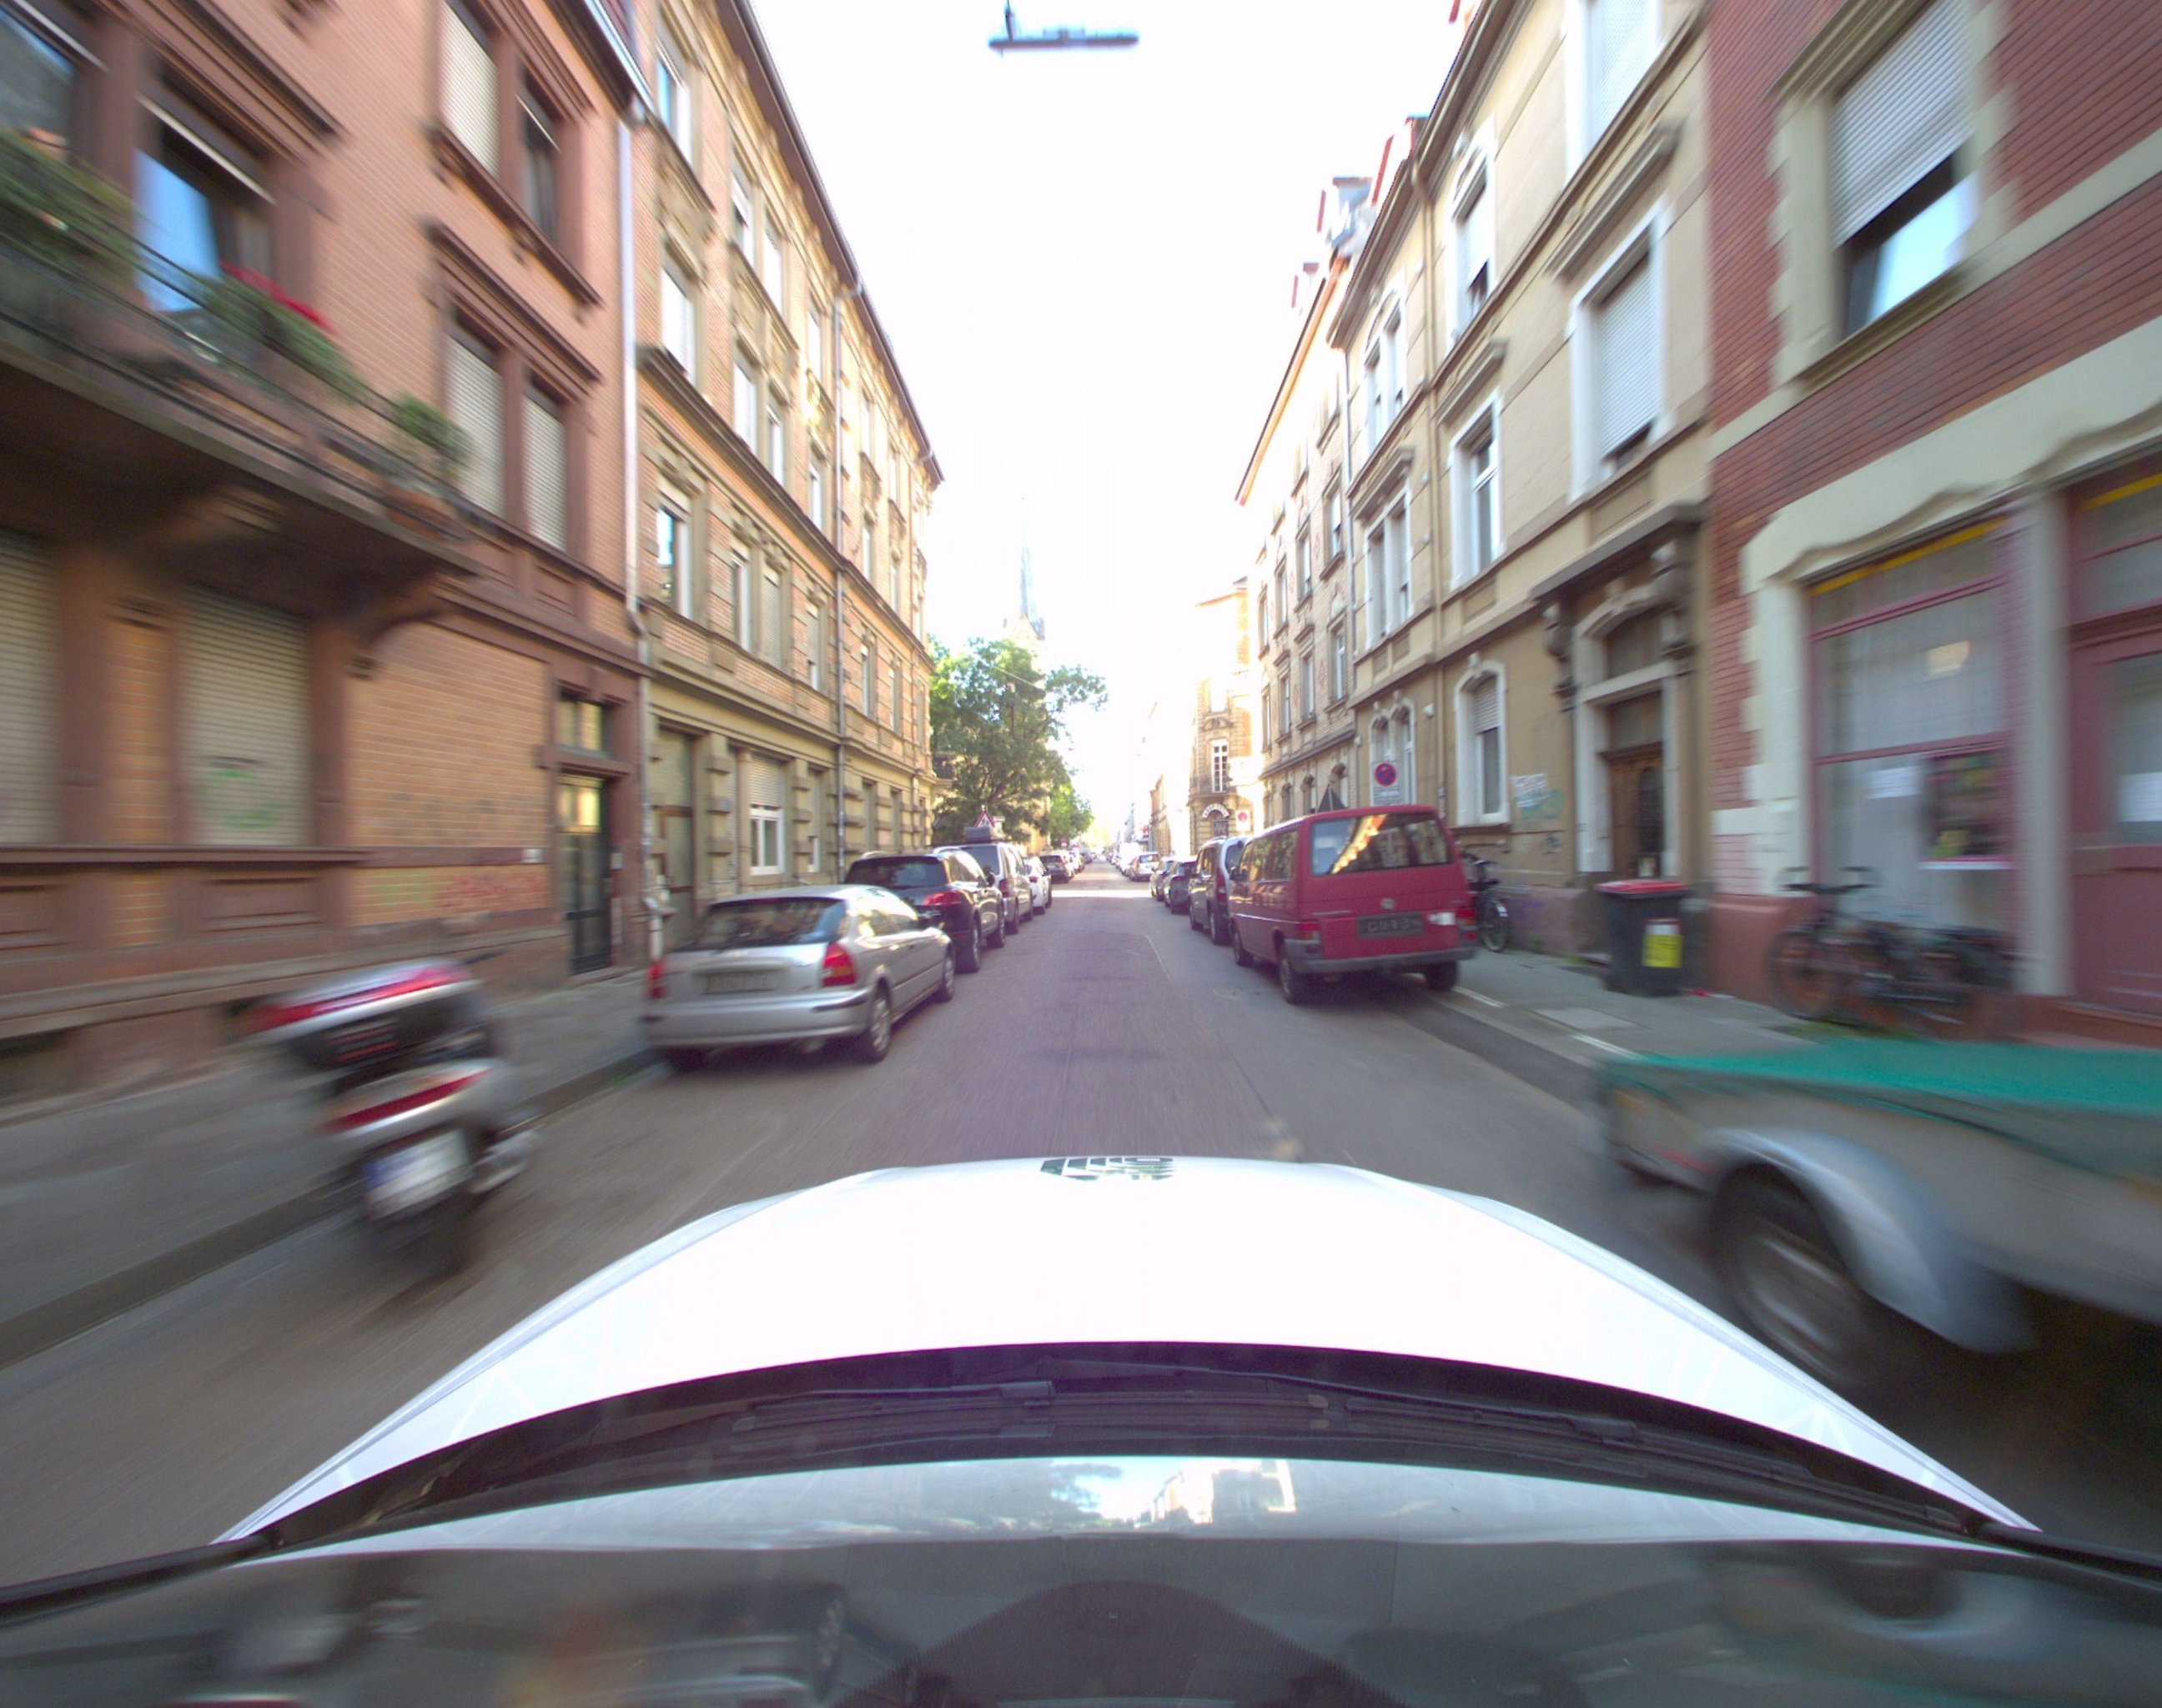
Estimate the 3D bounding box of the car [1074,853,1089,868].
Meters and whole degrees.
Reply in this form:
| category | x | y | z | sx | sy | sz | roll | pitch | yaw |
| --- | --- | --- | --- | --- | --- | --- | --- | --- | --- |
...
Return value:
| category | x | y | z | sx | sy | sz | roll | pitch | yaw |
| --- | --- | --- | --- | --- | --- | --- | --- | --- | --- |
| car | 0.091 | 0.772 | 93.954 | 1.594 | 1.614 | 3.808 | -4 | 0 | 1 |

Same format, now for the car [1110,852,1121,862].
| category | x | y | z | sx | sy | sz | roll | pitch | yaw |
| --- | --- | --- | --- | --- | --- | --- | --- | --- | --- |
| car | 6.038 | 0.530 | 141.666 | 1.762 | 1.741 | 4.002 | -1 | 0 | 2 |

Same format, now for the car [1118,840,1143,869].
| category | x | y | z | sx | sy | sz | roll | pitch | yaw |
| --- | --- | --- | --- | --- | --- | --- | --- | --- | --- |
| car | 4.612 | 0.012 | 76.694 | 2.060 | 2.611 | 5.890 | -1 | 0 | 2 |

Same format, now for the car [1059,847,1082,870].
| category | x | y | z | sx | sy | sz | roll | pitch | yaw |
| --- | --- | --- | --- | --- | --- | --- | --- | --- | --- |
| car | -0.938 | 0.397 | 72.997 | 1.858 | 1.957 | 4.611 | -3 | 0 | 1 |

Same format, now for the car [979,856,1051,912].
| category | x | y | z | sx | sy | sz | roll | pitch | yaw |
| --- | --- | --- | --- | --- | --- | --- | --- | --- | --- |
| car | -1.745 | 0.764 | 22.596 | 1.668 | 1.420 | 3.874 | 0 | 0 | 0 |

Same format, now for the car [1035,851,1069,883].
| category | x | y | z | sx | sy | sz | roll | pitch | yaw |
| --- | --- | --- | --- | --- | --- | --- | --- | --- | --- |
| car | -1.563 | 0.691 | 45.559 | 1.735 | 1.646 | 4.287 | -2 | 0 | -1 |

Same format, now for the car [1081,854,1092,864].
| category | x | y | z | sx | sy | sz | roll | pitch | yaw |
| --- | --- | --- | --- | --- | --- | --- | --- | --- | --- |
| car | 1.122 | 0.906 | 155.248 | 1.871 | 1.796 | 3.996 | -1 | 0 | -2 |

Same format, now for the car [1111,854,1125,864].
| category | x | y | z | sx | sy | sz | roll | pitch | yaw |
| --- | --- | --- | --- | --- | --- | --- | --- | --- | --- |
| car | 5.475 | 0.695 | 121.139 | 1.890 | 1.488 | 3.871 | -1 | 0 | 2 |

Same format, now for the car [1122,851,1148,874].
| category | x | y | z | sx | sy | sz | roll | pitch | yaw |
| --- | --- | --- | --- | --- | --- | --- | --- | --- | --- |
| car | 4.066 | 0.658 | 61.887 | 1.801 | 1.690 | 4.216 | 0 | 0 | 2 |

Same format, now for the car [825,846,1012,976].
| category | x | y | z | sx | sy | sz | roll | pitch | yaw |
| --- | --- | --- | --- | --- | --- | --- | --- | --- | --- |
| car | -2.235 | 0.710 | 12.524 | 1.781 | 1.624 | 4.610 | 0 | 0 | 2 |

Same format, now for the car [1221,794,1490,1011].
| category | x | y | z | sx | sy | sz | roll | pitch | yaw |
| --- | --- | --- | --- | --- | --- | --- | --- | --- | --- |
| car | 2.969 | 0.446 | 9.967 | 1.825 | 2.013 | 4.743 | 0 | 0 | 2 |

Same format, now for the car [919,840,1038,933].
| category | x | y | z | sx | sy | sz | roll | pitch | yaw |
| --- | --- | --- | --- | --- | --- | --- | --- | --- | --- |
| car | -2.090 | 0.621 | 17.970 | 1.885 | 1.784 | 4.610 | 0 | 0 | 2 |

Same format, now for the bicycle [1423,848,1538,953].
| category | x | y | z | sx | sy | sz | roll | pitch | yaw |
| --- | --- | --- | --- | --- | --- | --- | --- | --- | --- |
| bicycle | 5.510 | 0.601 | 11.354 | 0.724 | 1.304 | 1.693 | -4 | 0 | 2 |

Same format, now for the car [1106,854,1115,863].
| category | x | y | z | sx | sy | sz | roll | pitch | yaw |
| --- | --- | --- | --- | --- | --- | --- | --- | --- | --- |
| car | 7.175 | 1.015 | 197.529 | 1.986 | 2.013 | 4.002 | -1 | 0 | 2 |

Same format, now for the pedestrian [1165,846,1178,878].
| category | x | y | z | sx | sy | sz | roll | pitch | yaw |
| --- | --- | --- | --- | --- | --- | --- | --- | --- | --- |
| pedestrian | 5.109 | 0.449 | 46.091 | 0.572 | 1.732 | 0.664 | -3 | 0 | 1 |

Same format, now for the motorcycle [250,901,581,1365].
| category | x | y | z | sx | sy | sz | roll | pitch | yaw |
| --- | --- | --- | --- | --- | --- | --- | --- | --- | --- |
| motorcycle | -2.926 | 0.915 | 3.594 | 0.849 | 1.360 | 2.170 | -2 | -2 | -41 |

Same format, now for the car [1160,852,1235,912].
| category | x | y | z | sx | sy | sz | roll | pitch | yaw |
| --- | --- | --- | --- | --- | --- | --- | --- | --- | --- |
| car | 3.179 | 0.713 | 22.860 | 1.660 | 1.479 | 3.889 | -1 | 1 | 2 |

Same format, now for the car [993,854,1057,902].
| category | x | y | z | sx | sy | sz | roll | pitch | yaw |
| --- | --- | --- | --- | --- | --- | --- | --- | --- | --- |
| car | -1.798 | 0.750 | 27.271 | 1.716 | 1.481 | 4.091 | 0 | 0 | 2 |

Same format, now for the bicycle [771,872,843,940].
| category | x | y | z | sx | sy | sz | roll | pitch | yaw |
| --- | --- | --- | --- | --- | --- | --- | --- | --- | --- |
| bicycle | -5.115 | 0.945 | 15.326 | 0.664 | 1.125 | 1.786 | 1 | 0 | 2 |

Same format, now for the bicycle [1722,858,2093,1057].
| category | x | y | z | sx | sy | sz | roll | pitch | yaw |
| --- | --- | --- | --- | --- | --- | --- | --- | --- | --- |
| bicycle | 5.766 | 0.632 | 5.892 | 0.699 | 1.121 | 1.898 | -5 | 0 | 1 |

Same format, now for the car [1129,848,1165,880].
| category | x | y | z | sx | sy | sz | roll | pitch | yaw |
| --- | --- | --- | --- | --- | --- | --- | --- | --- | --- |
| car | 3.768 | 0.574 | 47.204 | 1.698 | 1.714 | 3.937 | -2 | 0 | -1 |

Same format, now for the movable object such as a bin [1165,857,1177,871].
| category | x | y | z | sx | sy | sz | roll | pitch | yaw |
| --- | --- | --- | --- | --- | --- | --- | --- | --- | --- |
| movable object such as a bin | 6.759 | 0.753 | 61.251 | 0.551 | 1.052 | 0.597 | -4 | 0 | -32 |

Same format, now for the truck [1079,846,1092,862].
| category | x | y | z | sx | sy | sz | roll | pitch | yaw |
| --- | --- | --- | --- | --- | --- | --- | --- | --- | --- |
| truck | 1.061 | -0.046 | 171.535 | 2.522 | 3.282 | 6.997 | -1 | 0 | 2 |

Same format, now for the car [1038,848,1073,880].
| category | x | y | z | sx | sy | sz | roll | pitch | yaw |
| --- | --- | --- | --- | --- | --- | --- | --- | --- | --- |
| car | -1.555 | 0.609 | 51.246 | 1.838 | 1.862 | 4.468 | -2 | 0 | 2 |

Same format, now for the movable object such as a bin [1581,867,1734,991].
| category | x | y | z | sx | sy | sz | roll | pitch | yaw |
| --- | --- | --- | --- | --- | --- | --- | --- | --- | --- |
| movable object such as a bin | 5.501 | 0.690 | 7.816 | 0.893 | 1.061 | 0.722 | -4 | 0 | -1 |

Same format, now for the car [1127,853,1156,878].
| category | x | y | z | sx | sy | sz | roll | pitch | yaw |
| --- | --- | --- | --- | --- | --- | --- | --- | --- | --- |
| car | 3.836 | 0.718 | 52.100 | 1.530 | 1.513 | 3.681 | -2 | 0 | -1 |

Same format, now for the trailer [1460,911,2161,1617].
| category | x | y | z | sx | sy | sz | roll | pitch | yaw |
| --- | --- | --- | --- | --- | --- | --- | --- | --- | --- |
| trailer | 2.769 | 0.884 | 2.787 | 1.500 | 1.113 | 3.038 | 2 | 0 | 0 |

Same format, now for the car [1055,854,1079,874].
| category | x | y | z | sx | sy | sz | roll | pitch | yaw |
| --- | --- | --- | --- | --- | --- | --- | --- | --- | --- |
| car | -1.123 | 0.781 | 67.072 | 1.736 | 1.586 | 3.870 | -1 | 0 | 1 |

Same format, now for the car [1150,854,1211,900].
| category | x | y | z | sx | sy | sz | roll | pitch | yaw |
| --- | --- | --- | --- | --- | --- | --- | --- | --- | --- |
| car | 3.352 | 0.748 | 28.258 | 1.700 | 1.459 | 4.513 | 0 | 0 | 2 |

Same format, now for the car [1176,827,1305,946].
| category | x | y | z | sx | sy | sz | roll | pitch | yaw |
| --- | --- | --- | --- | --- | --- | --- | --- | --- | --- |
| car | 2.885 | 0.529 | 15.619 | 1.763 | 1.961 | 4.265 | 0 | 0 | 2 |

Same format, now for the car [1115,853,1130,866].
| category | x | y | z | sx | sy | sz | roll | pitch | yaw |
| --- | --- | --- | --- | --- | --- | --- | --- | --- | --- |
| car | 4.737 | 0.617 | 92.700 | 1.597 | 1.505 | 4.003 | 0 | 0 | 3 |

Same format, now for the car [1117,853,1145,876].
| category | x | y | z | sx | sy | sz | roll | pitch | yaw |
| --- | --- | --- | --- | --- | --- | --- | --- | --- | --- |
| car | 3.506 | 0.725 | 57.796 | 1.568 | 1.525 | 3.904 | 1 | 0 | -3 |

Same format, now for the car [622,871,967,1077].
| category | x | y | z | sx | sy | sz | roll | pitch | yaw |
| --- | --- | --- | --- | --- | --- | --- | --- | --- | --- |
| car | -2.278 | 0.876 | 7.682 | 1.692 | 1.314 | 4.001 | 2 | 0 | 1 |

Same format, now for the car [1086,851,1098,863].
| category | x | y | z | sx | sy | sz | roll | pitch | yaw |
| --- | --- | --- | --- | --- | --- | --- | --- | --- | --- |
| car | 1.879 | 0.449 | 133.070 | 1.868 | 1.796 | 4.002 | -1 | 0 | 2 |
